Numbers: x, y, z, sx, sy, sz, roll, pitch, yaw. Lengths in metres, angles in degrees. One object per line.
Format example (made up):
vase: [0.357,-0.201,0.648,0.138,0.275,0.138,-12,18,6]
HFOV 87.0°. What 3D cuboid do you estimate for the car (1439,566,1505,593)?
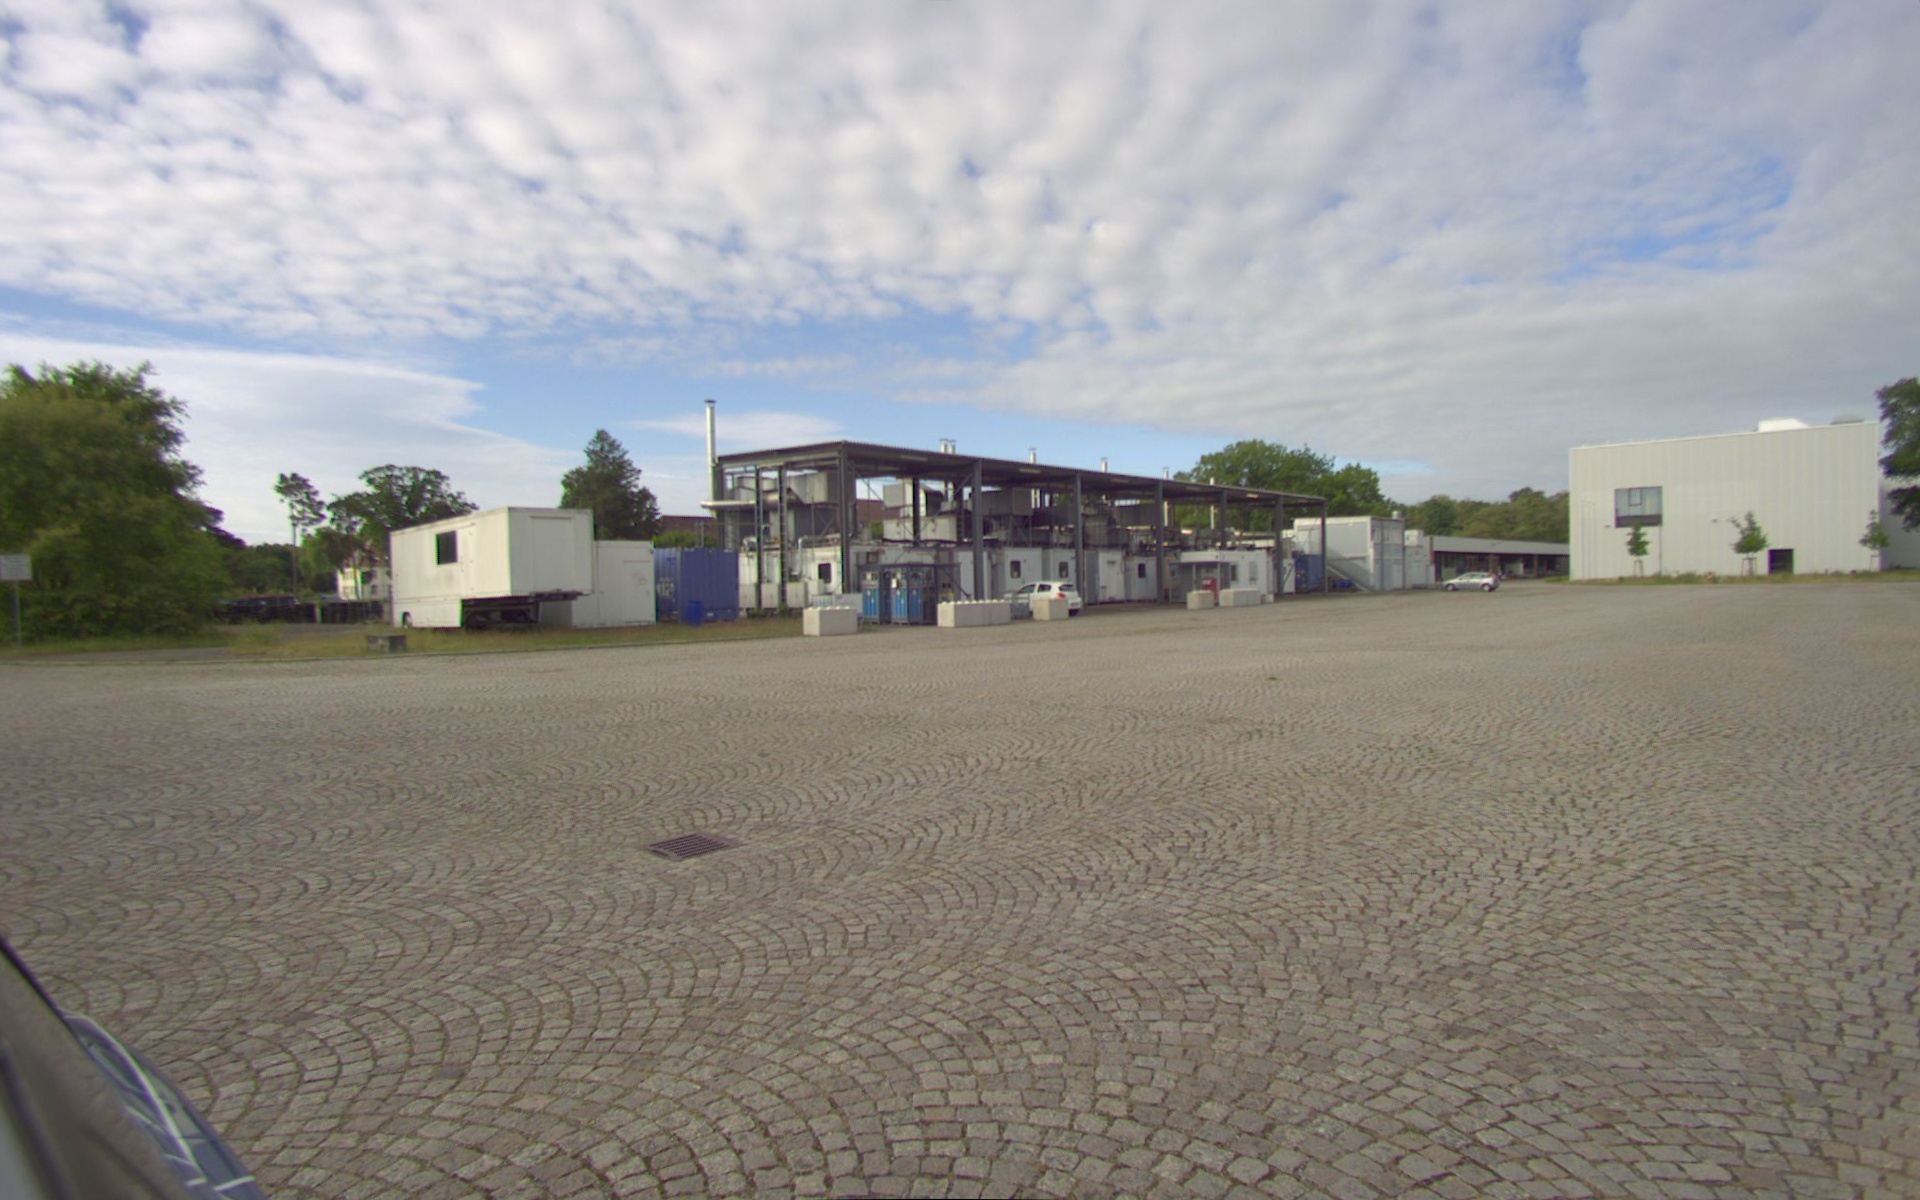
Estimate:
car: [40.376,-1.607,79.769,4.304,1.961,1.974,-1,1,39]

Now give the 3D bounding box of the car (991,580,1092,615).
car: [3.508,-0.093,43.814,3.996,1.484,1.909,0,0,40]

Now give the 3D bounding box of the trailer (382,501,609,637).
trailer: [-15.126,-0.816,32.305,10.781,3.689,2.837,-1,1,44]
